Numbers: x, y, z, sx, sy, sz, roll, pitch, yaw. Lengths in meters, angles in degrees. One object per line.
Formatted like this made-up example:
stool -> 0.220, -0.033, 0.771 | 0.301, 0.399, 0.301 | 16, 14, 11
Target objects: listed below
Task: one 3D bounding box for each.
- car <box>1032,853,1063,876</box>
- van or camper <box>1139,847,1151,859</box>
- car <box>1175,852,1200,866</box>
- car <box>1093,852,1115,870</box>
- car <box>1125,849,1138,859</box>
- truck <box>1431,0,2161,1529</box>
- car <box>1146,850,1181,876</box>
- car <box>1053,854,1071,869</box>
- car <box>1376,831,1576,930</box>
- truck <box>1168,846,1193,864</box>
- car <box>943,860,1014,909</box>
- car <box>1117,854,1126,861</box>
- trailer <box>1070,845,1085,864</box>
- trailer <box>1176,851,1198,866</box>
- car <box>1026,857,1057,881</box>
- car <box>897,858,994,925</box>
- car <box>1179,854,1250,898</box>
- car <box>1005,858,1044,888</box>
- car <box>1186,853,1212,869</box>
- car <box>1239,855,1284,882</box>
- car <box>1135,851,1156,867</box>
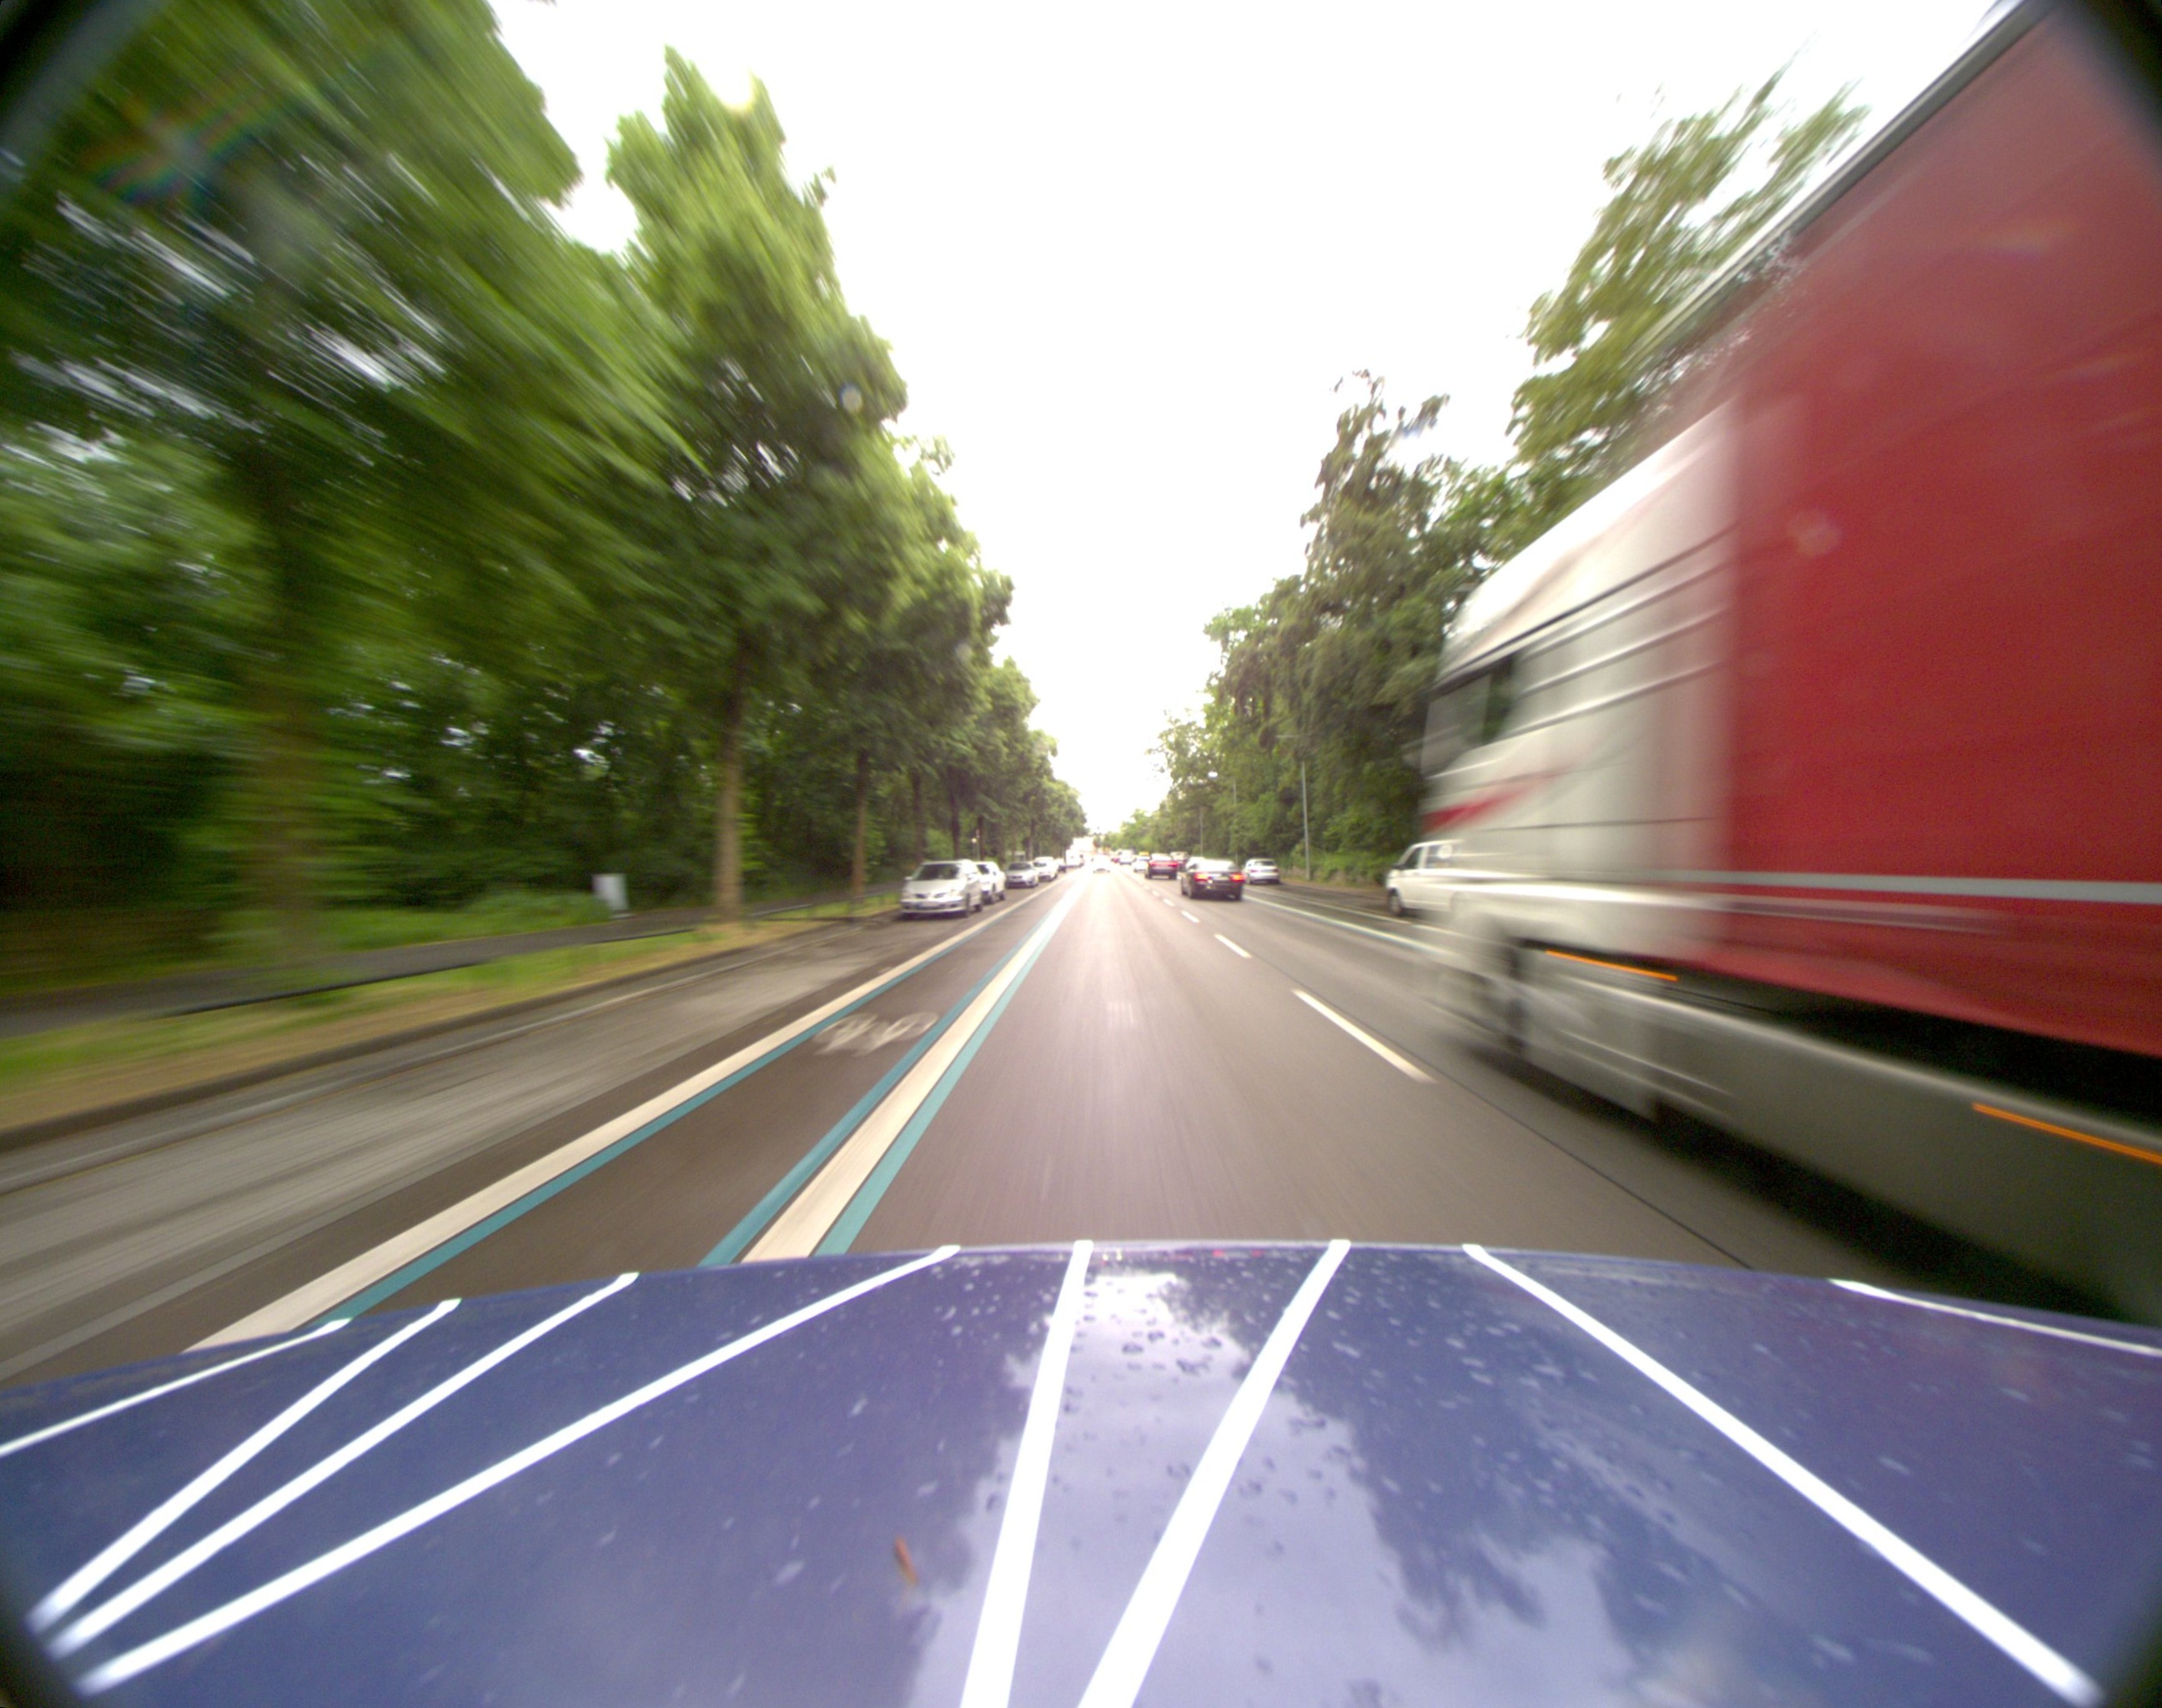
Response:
car -> -2.526, 0.760, 57.942 | 1.998, 1.652, 4.562 | -2, 0, 1
van or camper -> 13.699, -0.221, 162.314 | 2.165, 2.437, 4.436 | -1, 0, 2
car -> 10.895, 0.532, 77.759 | 1.826, 1.390, 4.445 | -1, 0, -1
car -> 2.221, 0.650, 72.804 | 1.998, 1.589, 4.000 | -2, 0, 2
car -> 8.402, -0.030, 126.484 | 1.958, 1.629, 4.445 | 0, 0, 2
truck -> 3.943, -0.410, 3.501 | 2.523, 4.023, 4.917 | 1, 1, 3
car -> 5.492, 0.577, 51.086 | 1.966, 1.608, 4.466 | 1, 0, 2
car -> -1.934, 0.756, 77.501 | 1.700, 1.468, 3.998 | -1, 0, 0
car -> 9.178, 0.557, 18.275 | 1.979, 1.993, 5.017 | -2, 0, -3
truck -> 11.570, 0.107, 88.515 | 2.098, 2.002, 5.158 | -1, 0, -1
car -> -3.649, 1.042, 27.805 | 1.702, 1.504, 4.470 | -3, 0, 3
car -> 9.404, 0.757, 176.611 | 2.043, 1.639, 4.478 | -1, 0, 3
trailer -> -0.560, 0.058, 106.463 | 1.988, 2.550, 3.999 | -2, 0, -1
trailer -> 11.590, 0.477, 82.991 | 1.347, 1.648, 2.270 | -1, 1, 40
car -> -2.616, 0.951, 51.125 | 1.702, 1.445, 3.946 | -3, 0, 1
car -> -3.758, 0.982, 21.922 | 1.757, 1.587, 4.740 | -2, 0, 1
car -> 4.782, 0.750, 27.889 | 1.920, 1.448, 4.620 | 1, 0, 2
car -> -3.031, 0.988, 41.194 | 1.702, 1.445, 4.097 | -3, 0, 0
car -> 11.040, 0.616, 71.226 | 1.759, 1.427, 4.356 | 0, 0, 0
car -> 10.165, 0.770, 43.026 | 1.694, 1.397, 4.028 | -2, 0, 3
car -> 6.133, 0.482, 73.039 | 1.780, 1.457, 4.063 | 1, 0, 2
